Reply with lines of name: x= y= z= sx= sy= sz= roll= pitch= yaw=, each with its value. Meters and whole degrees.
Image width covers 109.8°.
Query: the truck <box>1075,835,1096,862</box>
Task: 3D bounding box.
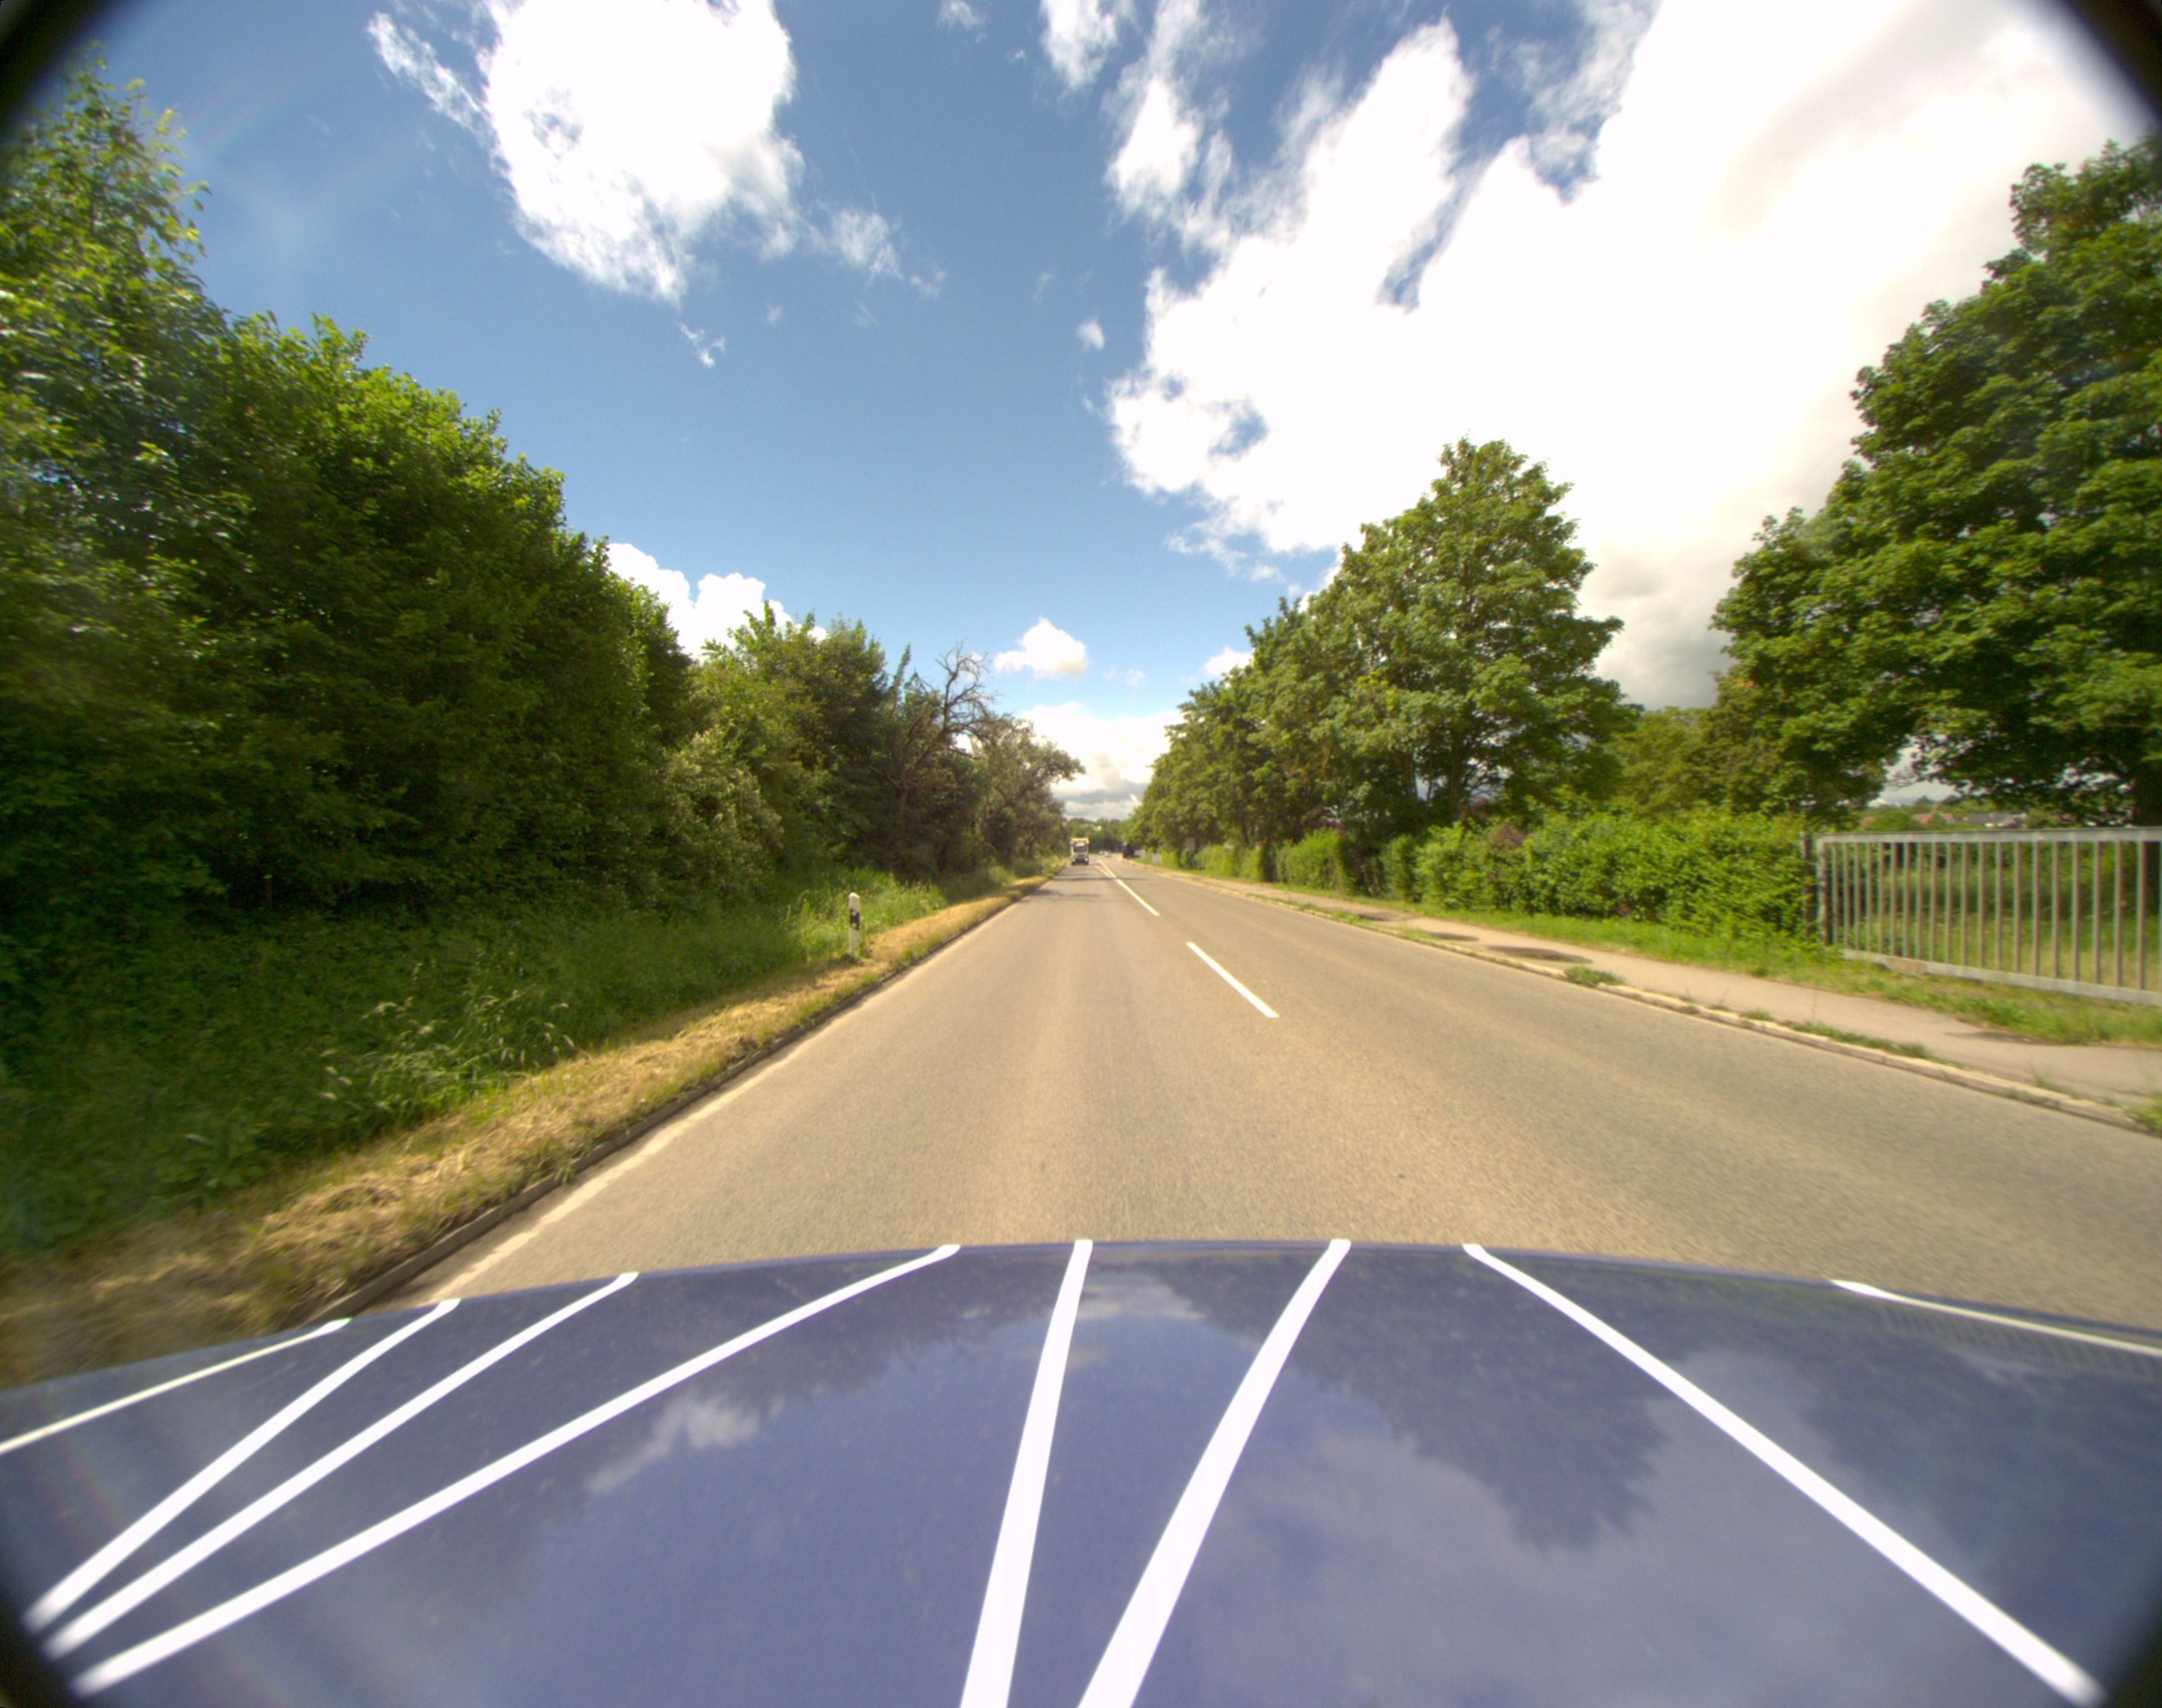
truck: x=0.701 y=-0.803 z=110.220 sx=2.904 sy=3.746 sz=9.634 roll=0 pitch=1 yaw=0

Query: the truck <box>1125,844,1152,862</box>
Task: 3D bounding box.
truck: x=12.481 y=-0.282 z=165.454 sx=5.570 sy=3.801 sz=2.983 roll=0 pitch=1 yaw=-4

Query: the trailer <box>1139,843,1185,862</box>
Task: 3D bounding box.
trailer: x=17.720 y=-0.338 z=166.533 sx=9.472 sy=4.059 sz=3.315 roll=0 pitch=1 yaw=-15
